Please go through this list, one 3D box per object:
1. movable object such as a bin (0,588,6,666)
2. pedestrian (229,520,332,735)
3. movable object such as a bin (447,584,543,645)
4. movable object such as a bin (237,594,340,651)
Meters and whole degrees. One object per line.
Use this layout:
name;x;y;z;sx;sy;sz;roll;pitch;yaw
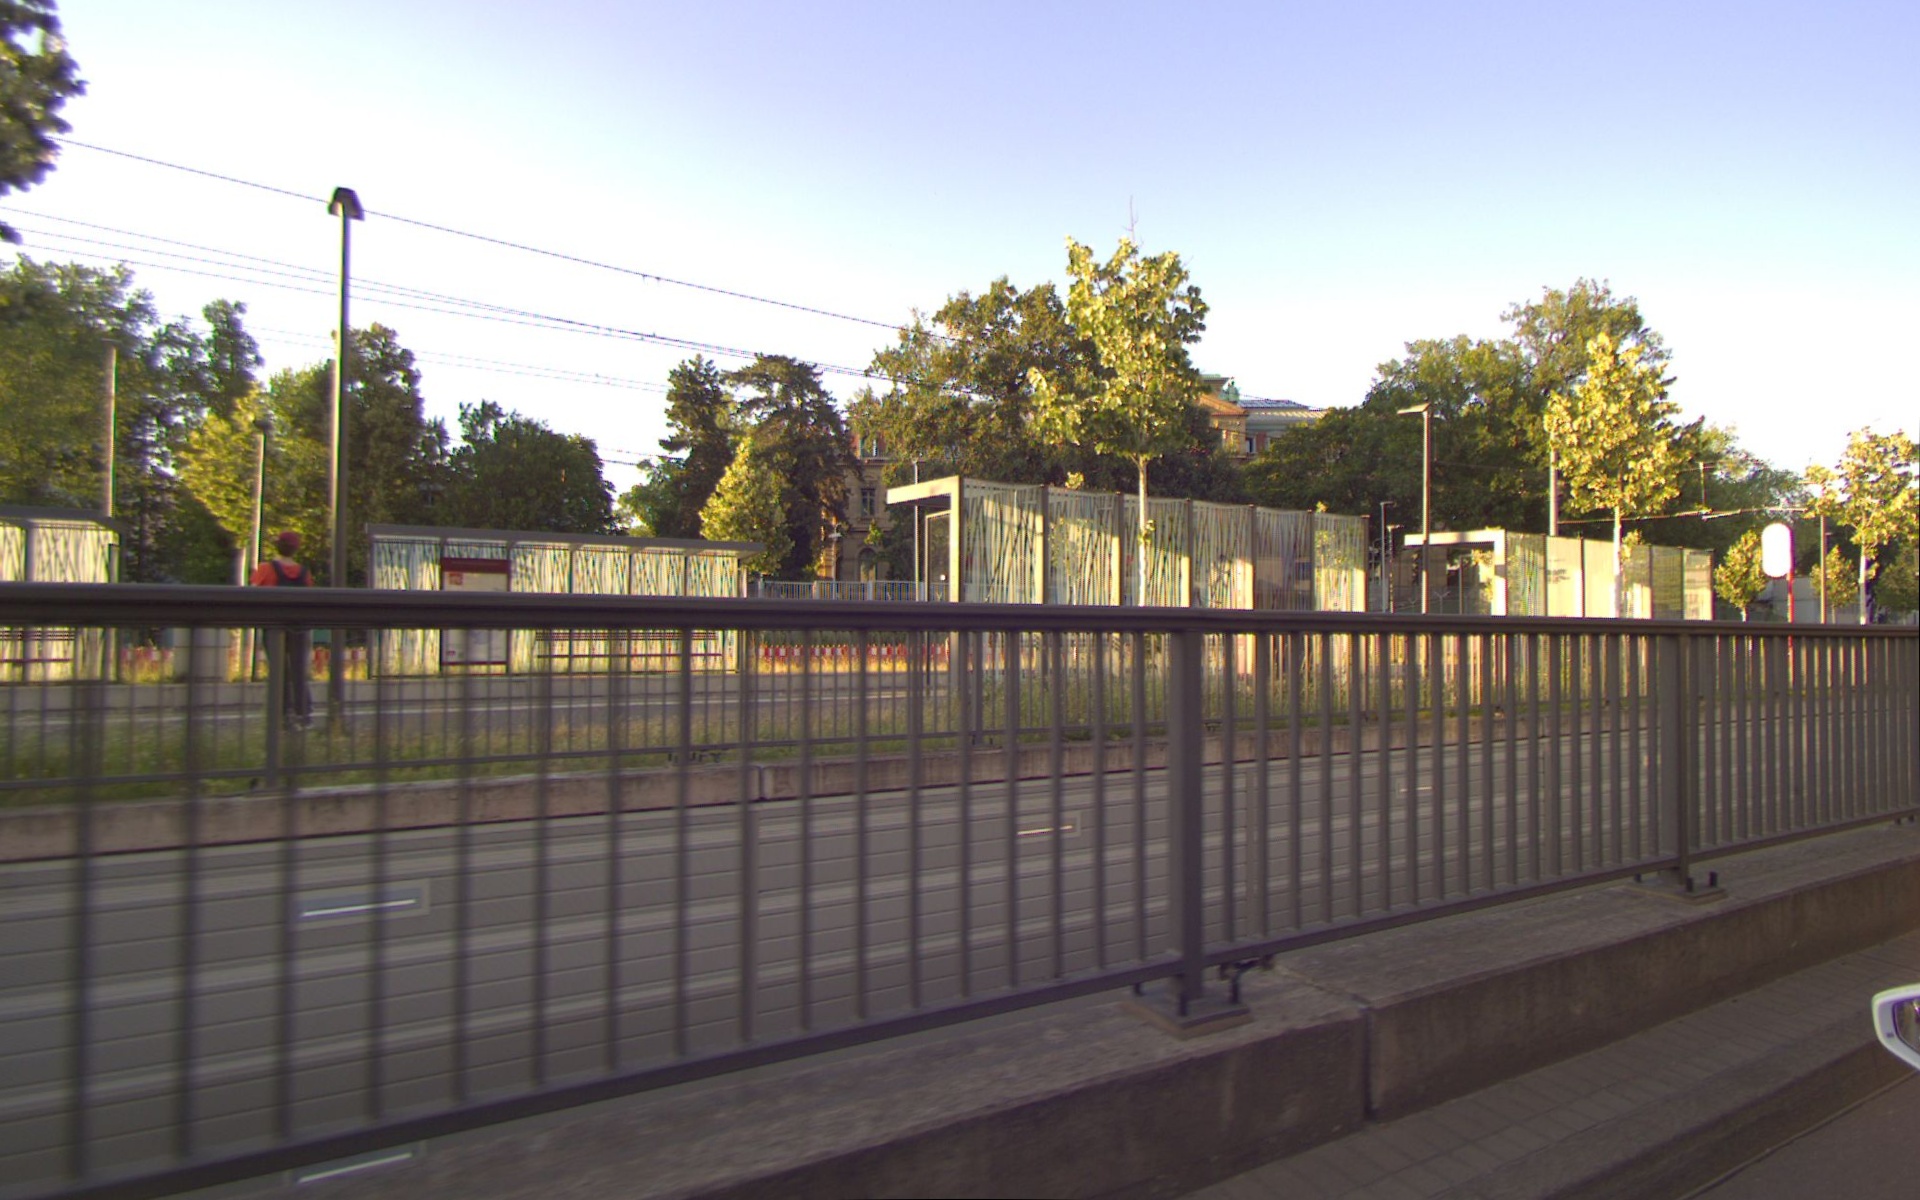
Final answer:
movable object such as a bin;-35.477;0.895;34.092;3.935;2.742;1.993;1;-1;-17
pedestrian;-5.848;0.240;8.647;0.631;1.751;0.628;2;-2;-42
movable object such as a bin;-21.857;0.737;47.248;3.950;2.742;1.986;2;-2;-28
movable object such as a bin;-33.172;1.143;49.756;3.950;2.742;1.986;2;-2;-28
